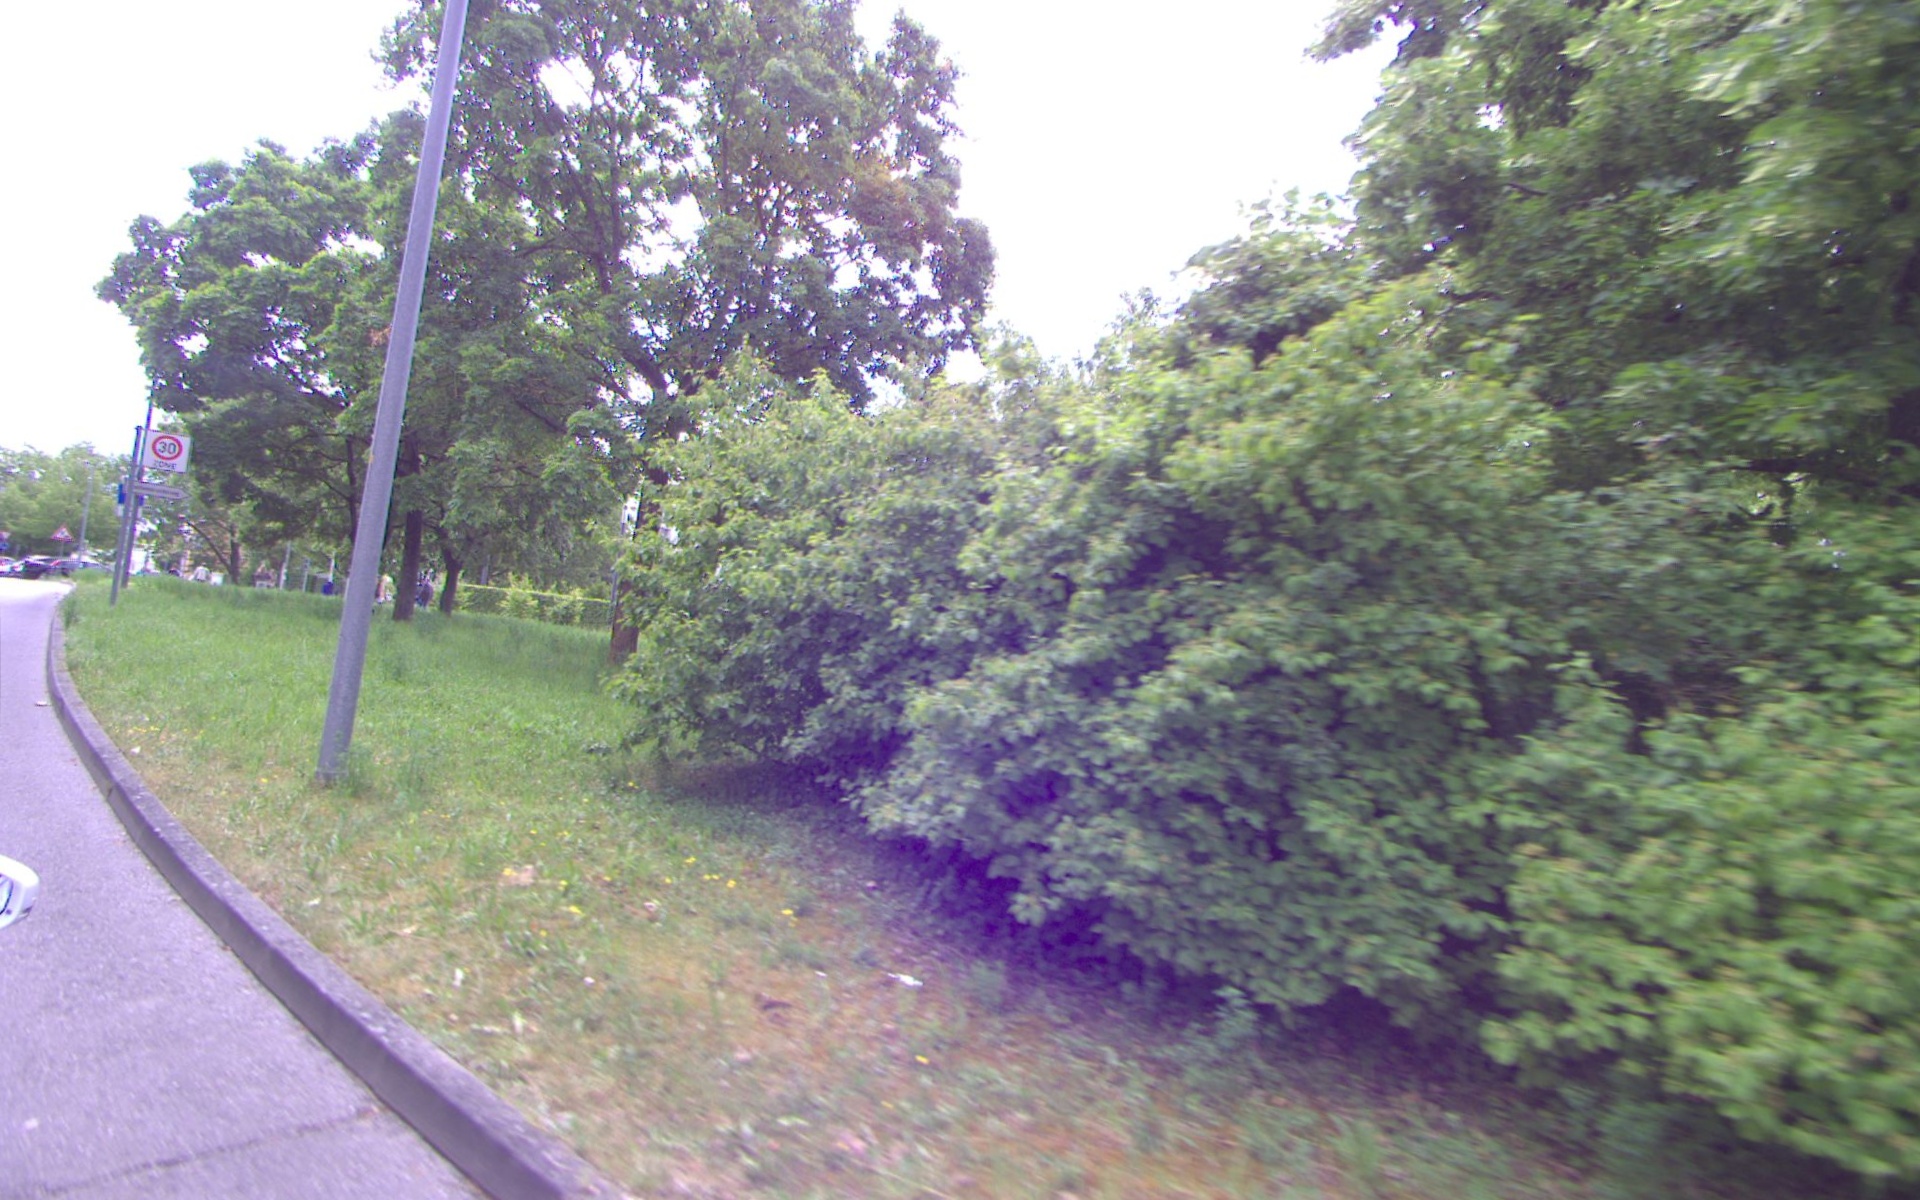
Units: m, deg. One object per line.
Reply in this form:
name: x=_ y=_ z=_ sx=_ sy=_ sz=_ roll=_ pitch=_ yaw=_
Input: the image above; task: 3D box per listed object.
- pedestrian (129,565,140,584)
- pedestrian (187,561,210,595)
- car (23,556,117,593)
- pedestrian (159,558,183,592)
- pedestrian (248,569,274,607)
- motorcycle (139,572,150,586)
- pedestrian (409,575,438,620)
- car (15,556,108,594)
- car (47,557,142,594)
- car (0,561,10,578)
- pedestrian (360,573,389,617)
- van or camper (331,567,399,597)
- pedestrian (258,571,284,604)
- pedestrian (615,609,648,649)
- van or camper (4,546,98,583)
pedestrian: x=-52.036 y=-1.607 z=63.435 sx=0.394 sy=1.165 sz=0.480 roll=8 pitch=-2 yaw=-38
pedestrian: x=-41.964 y=-1.196 z=55.446 sx=0.798 sy=1.742 sz=0.814 roll=9 pitch=-2 yaw=-39
car: x=-50.977 y=-1.420 z=57.707 sx=3.909 sy=1.516 sz=1.753 roll=9 pitch=-7 yaw=-41
pedestrian: x=-42.852 y=-1.344 z=54.659 sx=0.770 sy=1.742 sz=0.816 roll=8 pitch=-2 yaw=-33
pedestrian: x=-31.754 y=-0.556 z=45.704 sx=0.770 sy=1.615 sz=0.816 roll=8 pitch=-1 yaw=-34
motorcycle: x=-51.584 y=-1.339 z=63.627 sx=0.450 sy=0.803 sz=1.251 roll=8 pitch=-2 yaw=-37
pedestrian: x=-22.002 y=-0.106 z=41.284 sx=0.767 sy=1.742 sz=0.819 roll=8 pitch=-1 yaw=-22
car: x=-53.038 y=-1.463 z=59.485 sx=3.909 sy=1.647 sz=1.753 roll=9 pitch=-7 yaw=-41
car: x=-48.755 y=-1.349 z=56.723 sx=3.909 sy=1.483 sz=1.753 roll=9 pitch=-7 yaw=-41
car: x=-98.787 y=-3.311 z=101.838 sx=1.599 sy=1.671 sz=3.539 roll=4 pitch=-5 yaw=41
pedestrian: x=-24.878 y=-0.227 z=42.769 sx=0.767 sy=1.742 sz=0.818 roll=8 pitch=-1 yaw=-25
van or camper: x=-51.972 y=-1.565 z=87.984 sx=4.612 sy=1.936 sz=1.768 roll=8 pitch=-1 yaw=-12
pedestrian: x=-38.578 y=-0.688 z=56.319 sx=0.764 sy=1.714 sz=0.822 roll=8 pitch=-1 yaw=-12
pedestrian: x=-13.091 y=1.175 z=40.115 sx=0.685 sy=1.468 sz=0.836 roll=7 pitch=-2 yaw=19
van or camper: x=-64.483 y=-2.475 z=71.444 sx=1.747 sy=1.891 sz=4.669 roll=6 pitch=-2 yaw=41
